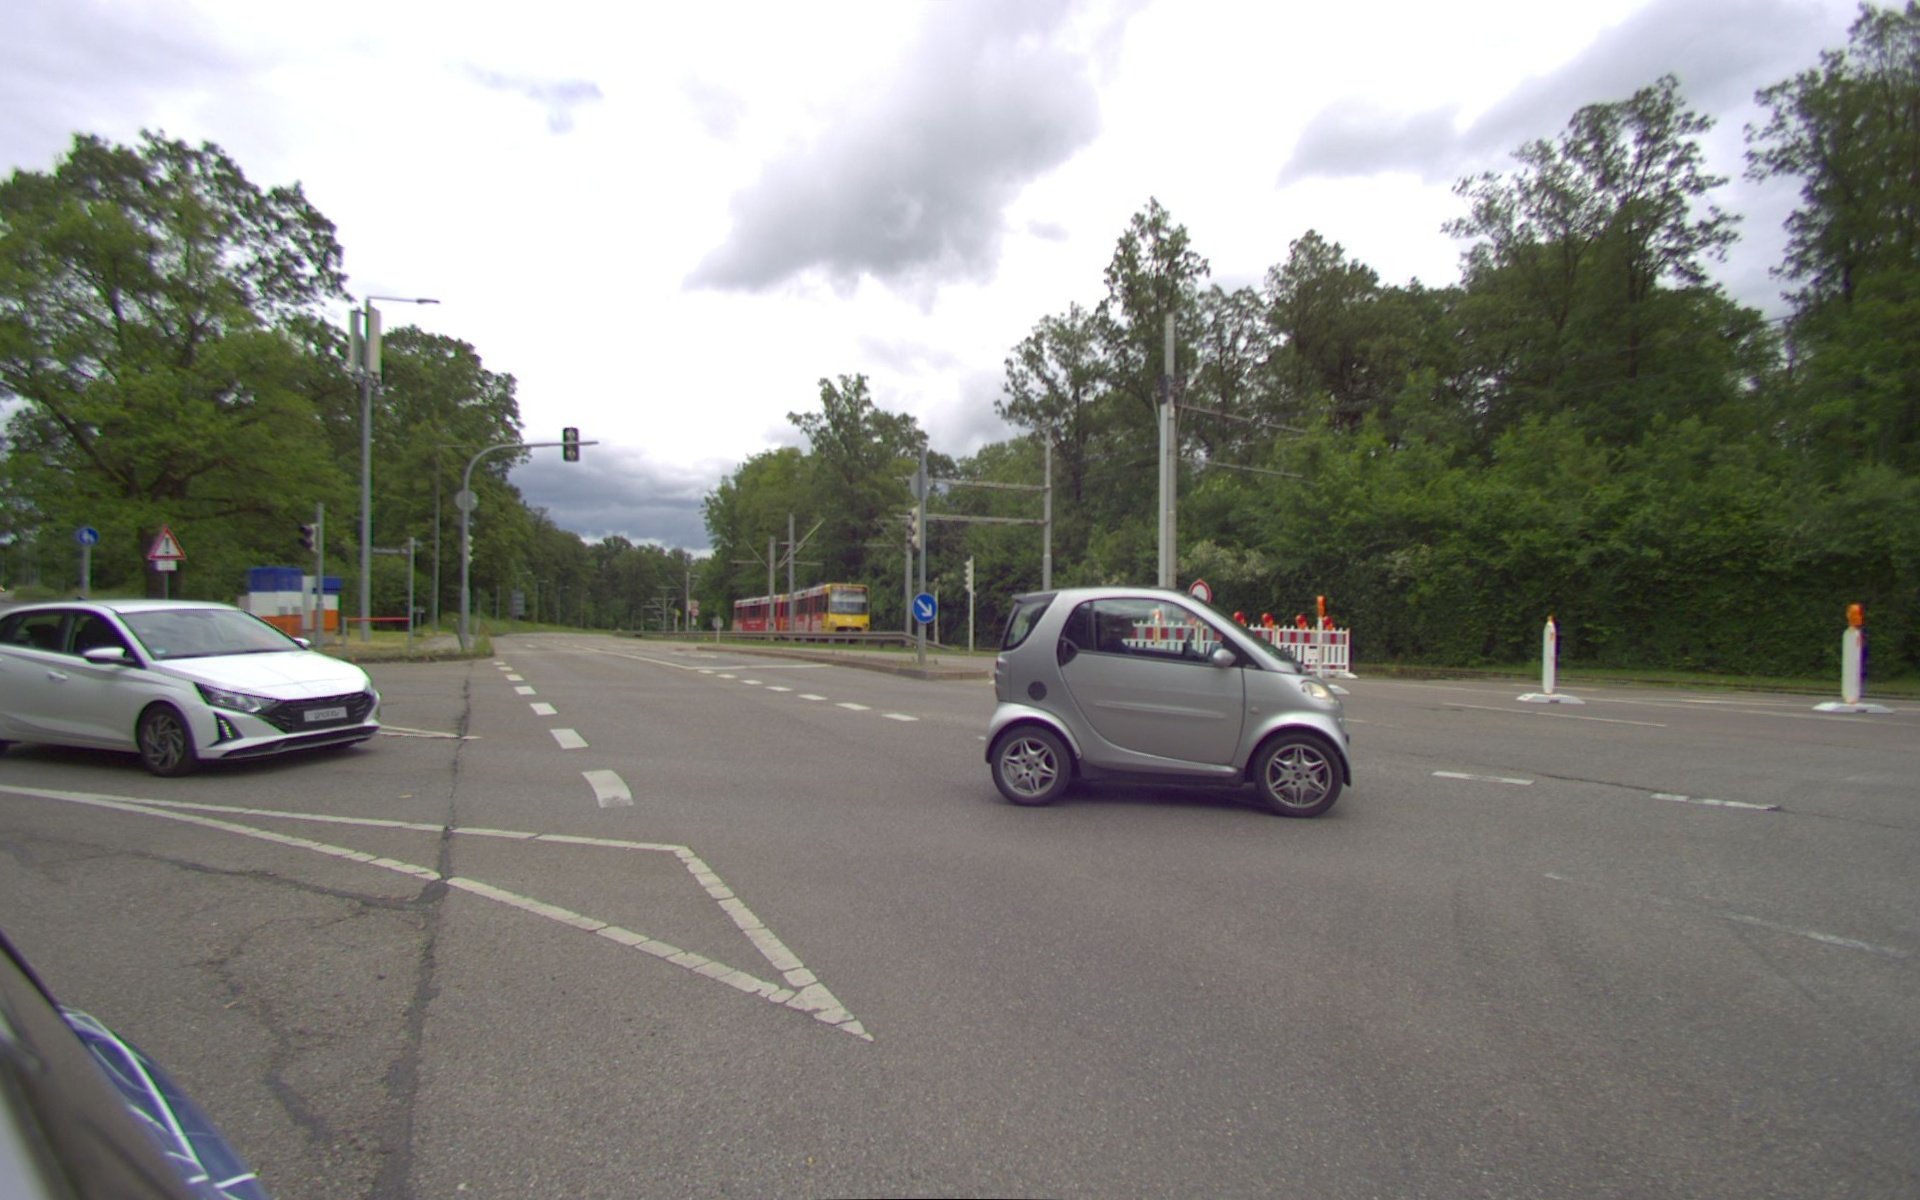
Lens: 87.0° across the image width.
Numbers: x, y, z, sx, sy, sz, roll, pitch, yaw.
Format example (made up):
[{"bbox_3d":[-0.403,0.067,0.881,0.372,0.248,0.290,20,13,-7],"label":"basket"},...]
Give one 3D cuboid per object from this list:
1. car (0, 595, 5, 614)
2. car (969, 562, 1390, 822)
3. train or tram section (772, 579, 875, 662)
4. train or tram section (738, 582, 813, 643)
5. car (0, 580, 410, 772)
[{"bbox_3d":[-74.825,0.304,77.499,1.749,1.511,3.883,3,-2,-34],"label":"car"},{"bbox_3d":[1.569,0.584,7.397,2.703,1.598,1.454,1,-2,16],"label":"car"},{"bbox_3d":[-9.483,1.089,67.251,2.905,4.685,18.606,2,0,-19],"label":"train or tram section"},{"bbox_3d":[-15.766,0.822,84.846,2.914,4.451,18.791,2,0,-20],"label":"train or tram section"},{"bbox_3d":[-7.428,0.616,9.477,4.039,1.490,1.645,1,-2,18],"label":"car"}]
